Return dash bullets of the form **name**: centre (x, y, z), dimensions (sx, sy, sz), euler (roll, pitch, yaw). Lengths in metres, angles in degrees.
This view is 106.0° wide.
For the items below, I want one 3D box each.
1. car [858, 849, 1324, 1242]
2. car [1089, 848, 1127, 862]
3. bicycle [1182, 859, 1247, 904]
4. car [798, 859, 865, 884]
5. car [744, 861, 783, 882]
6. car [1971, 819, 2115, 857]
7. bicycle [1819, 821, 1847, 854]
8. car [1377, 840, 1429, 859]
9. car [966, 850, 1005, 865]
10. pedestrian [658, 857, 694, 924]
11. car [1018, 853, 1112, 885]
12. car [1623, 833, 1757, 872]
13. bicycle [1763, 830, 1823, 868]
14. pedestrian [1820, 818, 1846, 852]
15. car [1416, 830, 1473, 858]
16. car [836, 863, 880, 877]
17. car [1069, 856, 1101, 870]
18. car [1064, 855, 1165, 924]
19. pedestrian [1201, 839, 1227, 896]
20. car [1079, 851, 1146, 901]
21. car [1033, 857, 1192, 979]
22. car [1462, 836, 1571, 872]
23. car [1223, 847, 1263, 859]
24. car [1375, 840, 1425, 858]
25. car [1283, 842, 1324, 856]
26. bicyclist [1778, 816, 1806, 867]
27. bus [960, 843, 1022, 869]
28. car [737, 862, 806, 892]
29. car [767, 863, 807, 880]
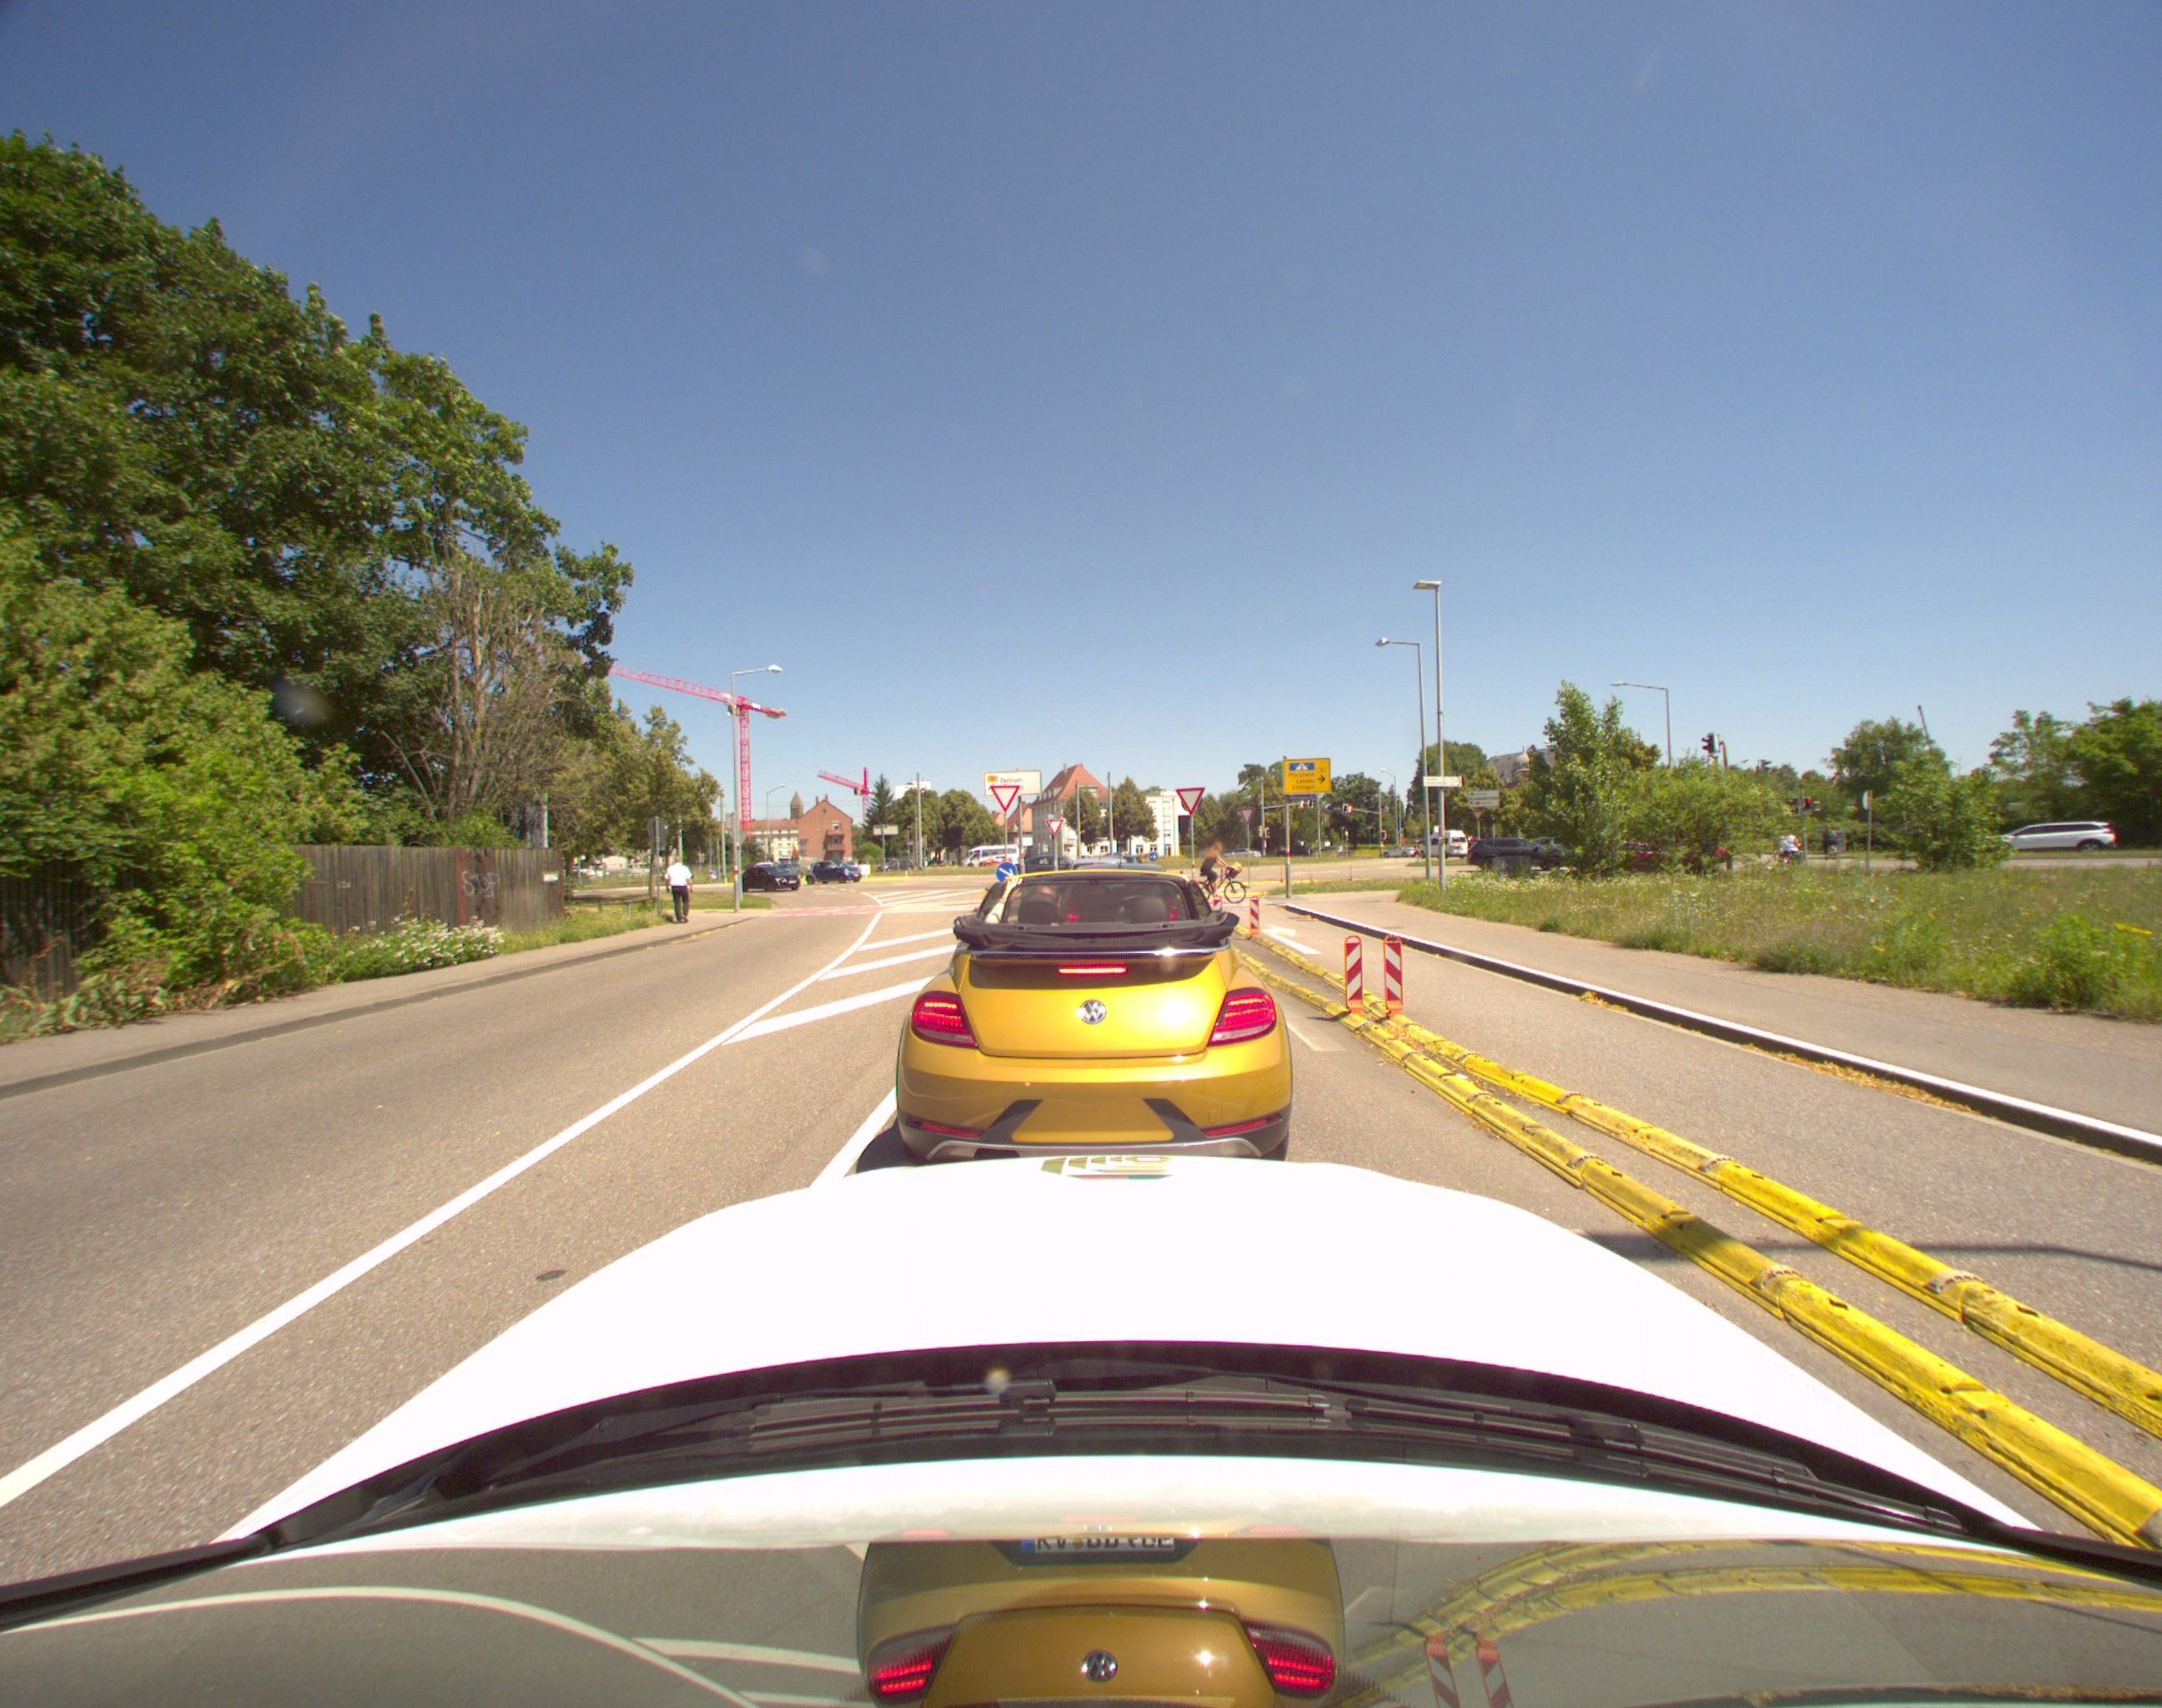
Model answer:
- **car**: centre (0.101, 0.745, 5.218), dimensions (1.758, 1.481, 4.259), euler (0, -1, 2)
- **car**: centre (3.365, 0.113, 100.800), dimensions (4.400, 1.736, 1.855), euler (-1, -1, 12)
- **bicycle**: centre (3.992, 0.823, 24.381), dimensions (1.830, 1.231, 0.615), euler (-3, -1, 12)
- **car**: centre (-16.258, 1.115, 53.037), dimensions (3.953, 1.552, 1.737), euler (-1, -1, 21)
- **car**: centre (-24.790, 1.342, 63.768), dimensions (1.773, 1.527, 3.866), euler (-2, 0, -5)
- **car**: centre (47.220, -0.730, 40.146), dimensions (4.389, 1.736, 1.860), euler (-1, -1, 43)
- **bicycle**: centre (38.006, -0.809, 41.159), dimensions (0.972, 1.597, 2.900), euler (-1, -1, 43)
- **car**: centre (35.864, -0.459, 90.822), dimensions (2.000, 1.962, 5.276), euler (0, -1, -30)
- **car**: centre (-11.431, 0.449, 97.699), dimensions (4.440, 1.736, 1.838), euler (0, -1, -17)
- **pedestrian**: centre (-11.020, 0.973, 22.172), dimensions (0.636, 1.786, 0.965), euler (0, -1, -11)
- **car**: centre (-0.760, 0.739, 40.250), dimensions (4.296, 1.552, 1.735), euler (-1, -1, 15)
- **car**: centre (25.336, -0.047, 33.956), dimensions (4.362, 1.527, 2.013), euler (-1, -1, 39)
- **bicycle**: centre (25.961, -0.180, 29.683), dimensions (2.902, 1.353, 0.635), euler (0, -1, -28)
- **pedestrian**: centre (37.907, -0.938, 41.050), dimensions (0.959, 1.660, 0.892), euler (-1, -1, 44)
- **car**: centre (32.209, -0.862, 72.347), dimensions (1.987, 2.397, 5.310), euler (0, -1, -10)
- **car**: centre (-22.224, 1.567, 81.197), dimensions (1.711, 1.402, 4.297), euler (-1, -1, 29)
- **car**: centre (0.488, 1.124, 104.891), dimensions (3.978, 1.772, 1.784), euler (0, -1, -3)
- **car**: centre (0.746, 0.745, 18.706), dimensions (2.057, 1.382, 4.259), euler (0, -1, 2)
- **pedestrian**: centre (3.995, 0.398, 24.372), dimensions (0.728, 1.691, 0.577), euler (-1, -1, 11)
- **car**: centre (1.059, 0.675, 27.751), dimensions (2.057, 1.481, 4.545), euler (-2, 0, 2)
- **car**: centre (0.443, 0.768, 11.800), dimensions (1.844, 1.366, 4.260), euler (-2, 0, 2)
- **car**: centre (21.507, -0.020, 40.419), dimensions (4.372, 1.595, 2.008), euler (-2, 0, 14)
- **car**: centre (19.206, -0.108, 96.716), dimensions (4.275, 1.371, 1.763), euler (-1, -1, 37)
- **car**: centre (35.615, -0.514, 91.146), dimensions (1.997, 1.962, 5.285), euler (0, -1, -25)
- **car**: centre (26.292, -0.602, 96.354), dimensions (4.275, 1.614, 1.893), euler (-1, -1, 39)
- **bicyclist**: centre (25.763, -0.438, 29.514), dimensions (0.573, 1.841, 0.603), euler (0, -1, -29)
- **bus**: centre (-11.189, 0.234, 101.416), dimensions (7.281, 3.172, 2.244), euler (0, -1, -22)
- **car**: centre (-17.550, 1.274, 46.097), dimensions (3.948, 1.551, 1.739), euler (-1, 3, 37)
- **car**: centre (-25.190, 1.496, 69.927), dimensions (1.740, 1.371, 4.332), euler (0, 0, 1)
